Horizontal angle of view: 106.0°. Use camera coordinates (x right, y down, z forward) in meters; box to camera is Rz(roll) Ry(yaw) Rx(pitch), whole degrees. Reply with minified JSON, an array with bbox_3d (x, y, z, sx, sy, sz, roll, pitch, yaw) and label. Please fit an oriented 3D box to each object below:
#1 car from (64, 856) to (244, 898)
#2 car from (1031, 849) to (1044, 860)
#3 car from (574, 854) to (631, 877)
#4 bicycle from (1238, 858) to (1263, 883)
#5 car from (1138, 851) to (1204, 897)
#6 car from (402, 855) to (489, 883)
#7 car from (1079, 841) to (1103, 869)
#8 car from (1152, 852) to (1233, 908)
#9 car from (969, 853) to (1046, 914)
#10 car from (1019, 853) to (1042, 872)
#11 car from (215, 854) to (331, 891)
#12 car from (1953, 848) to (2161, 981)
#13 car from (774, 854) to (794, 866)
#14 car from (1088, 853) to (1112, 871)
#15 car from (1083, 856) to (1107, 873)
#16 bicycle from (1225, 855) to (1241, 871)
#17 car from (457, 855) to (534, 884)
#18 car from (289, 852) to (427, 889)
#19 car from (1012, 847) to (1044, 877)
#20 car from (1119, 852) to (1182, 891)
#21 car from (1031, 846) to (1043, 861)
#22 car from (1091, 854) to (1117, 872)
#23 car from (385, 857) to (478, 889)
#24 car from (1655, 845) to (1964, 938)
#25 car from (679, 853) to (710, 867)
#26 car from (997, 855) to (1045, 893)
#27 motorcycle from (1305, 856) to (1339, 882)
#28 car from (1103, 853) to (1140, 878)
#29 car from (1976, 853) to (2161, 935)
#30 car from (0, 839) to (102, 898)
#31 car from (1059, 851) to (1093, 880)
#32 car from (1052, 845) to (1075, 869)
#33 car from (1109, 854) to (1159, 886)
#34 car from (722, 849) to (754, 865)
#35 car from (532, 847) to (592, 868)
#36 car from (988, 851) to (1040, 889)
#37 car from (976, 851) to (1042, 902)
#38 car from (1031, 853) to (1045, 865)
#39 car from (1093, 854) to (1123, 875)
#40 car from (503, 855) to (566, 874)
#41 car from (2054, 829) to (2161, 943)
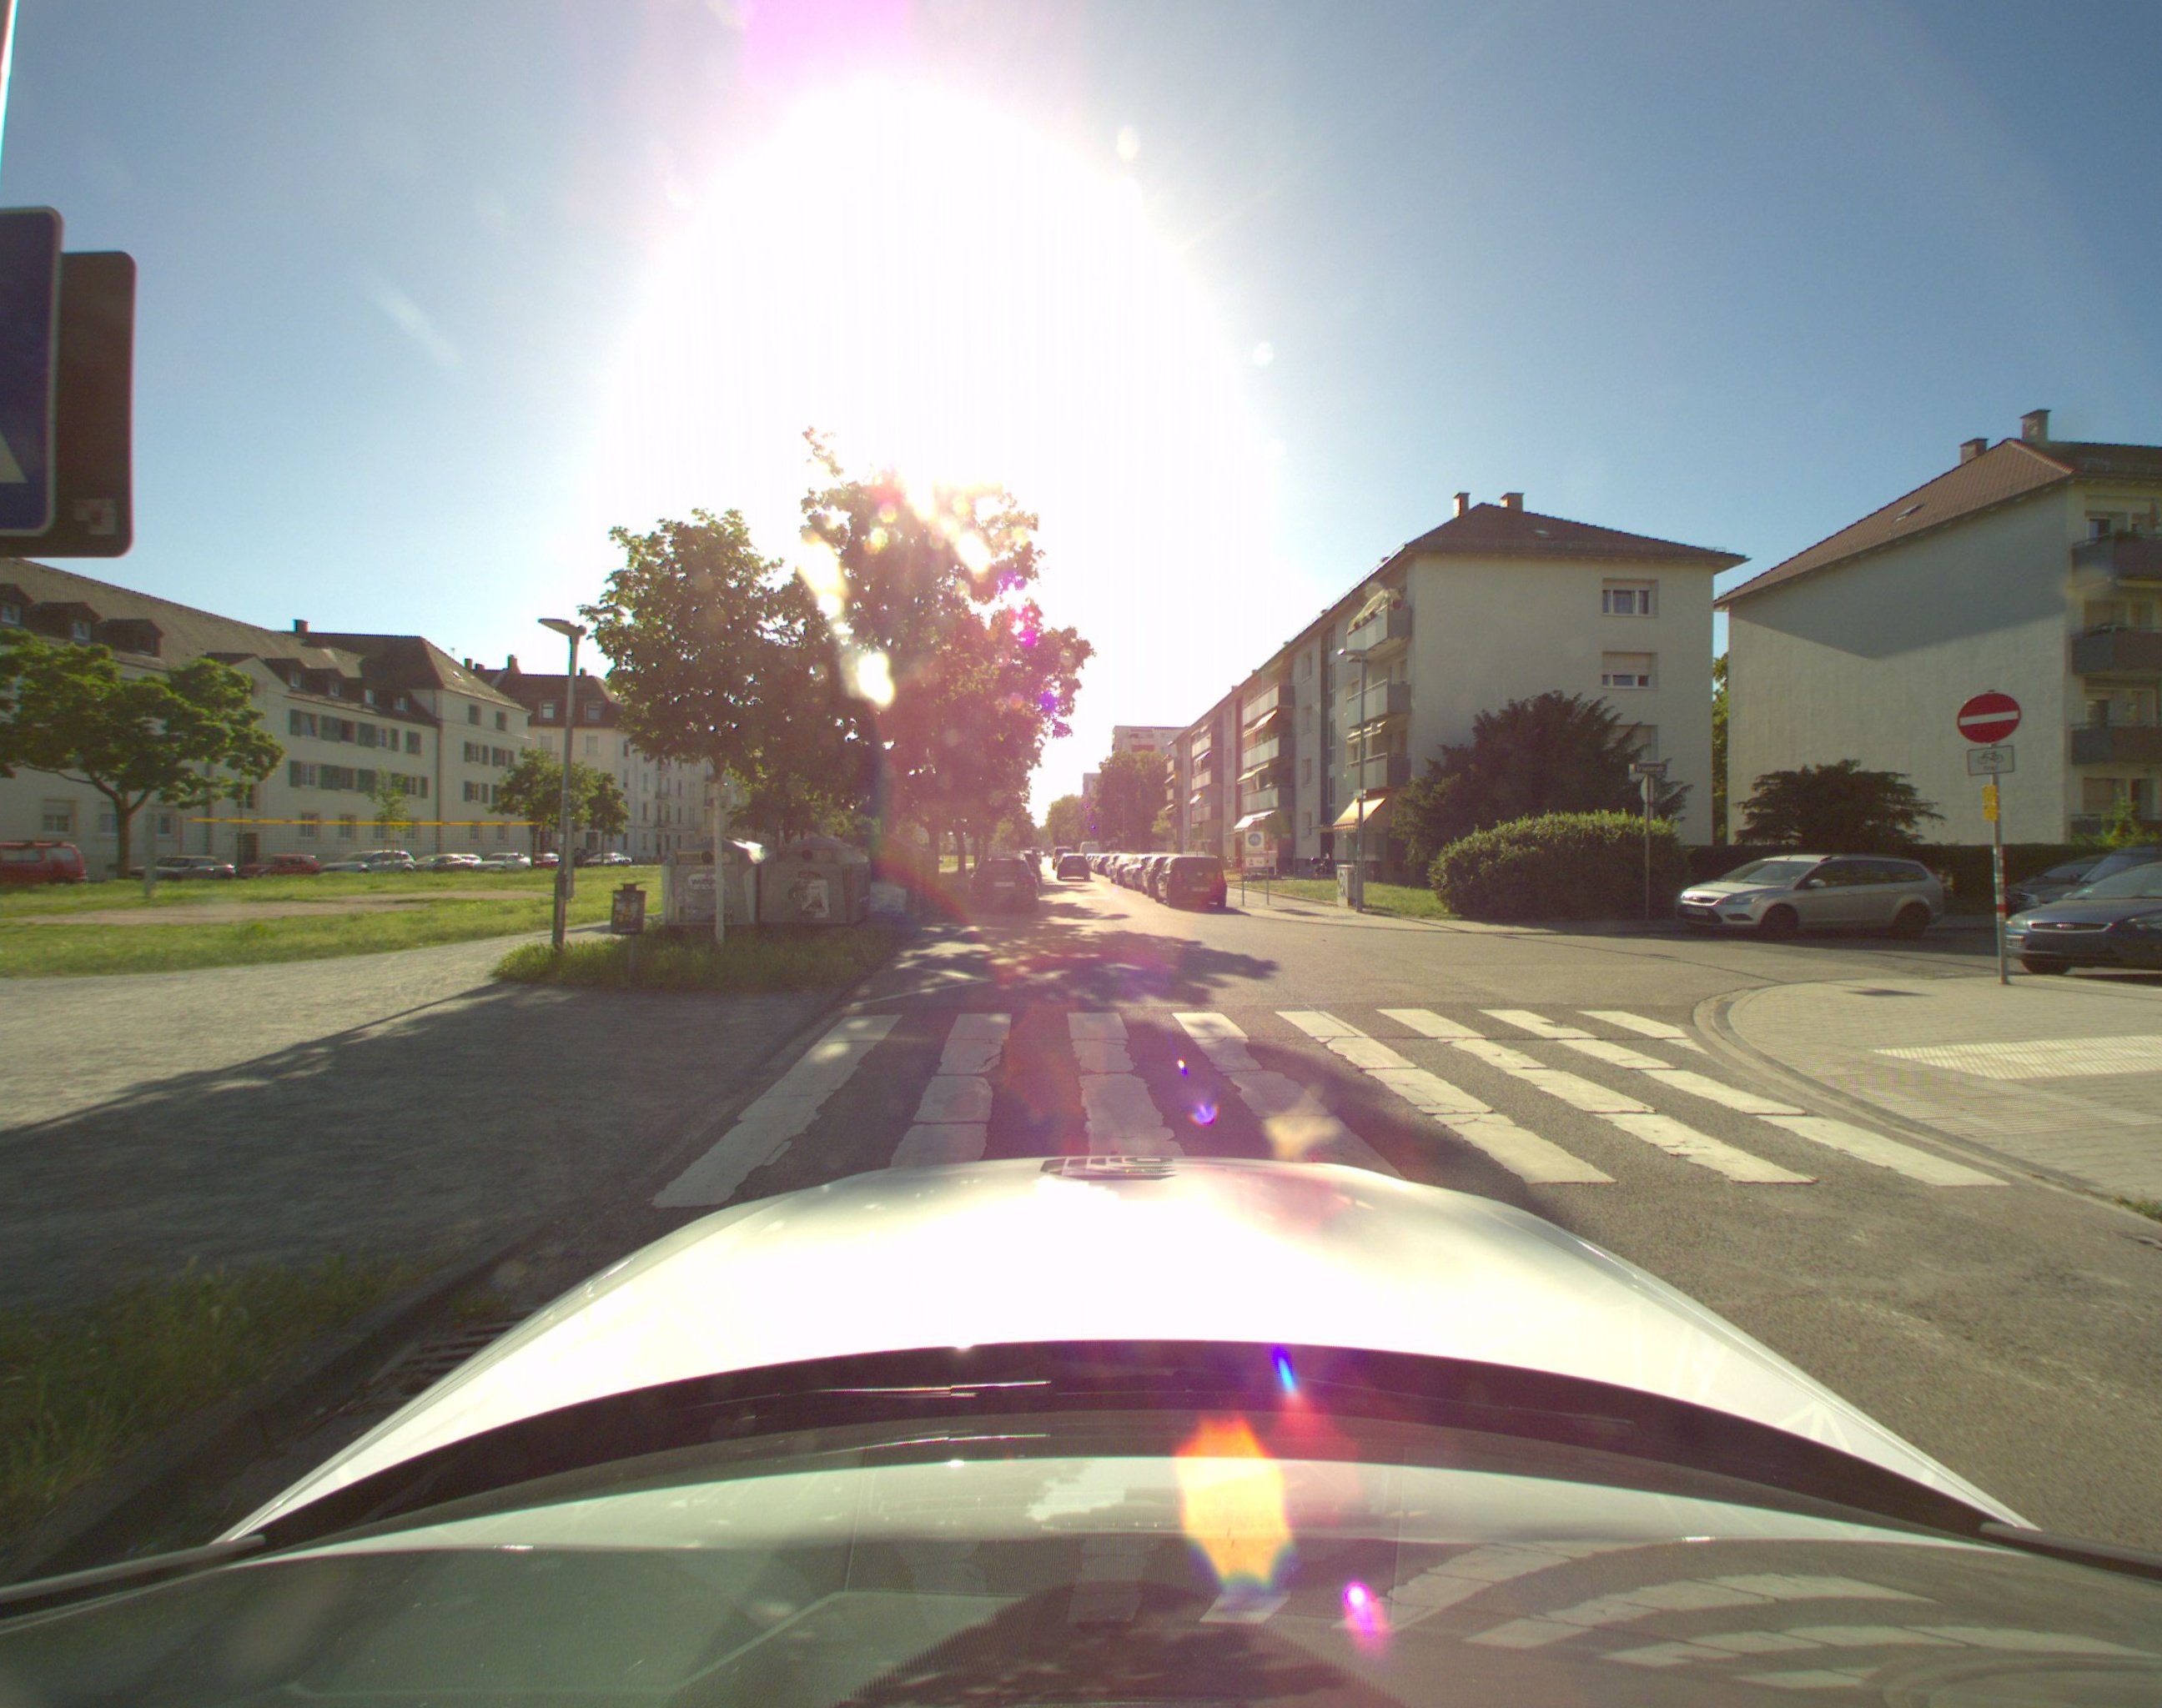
[{"bbox_3d":[-43.159,1.017,38.172,2.444,1.820,5.254,0,0,-2],"label":"car"},{"bbox_3d":[-7.443,0.094,139.507,2.093,1.942,4.122,0,0,-3],"label":"car"},{"bbox_3d":[-39.060,0.902,66.565,2.154,1.820,4.697,0,0,-5],"label":"car"},{"bbox_3d":[7.694,0.746,37.071,0.718,1.077,1.895,0,0,-1],"label":"bicycle"},{"bbox_3d":[3.147,0.672,29.344,1.765,1.529,4.554,0,0,-2],"label":"car"},{"bbox_3d":[-44.141,0.990,56.734,2.149,1.886,5.152,0,0,-3],"label":"car"},{"bbox_3d":[0.966,0.116,83.174,2.137,2.713,6.837,-1,0,-2],"label":"car"},{"bbox_3d":[3.167,0.703,23.866,1.655,1.474,3.789,2,0,-3],"label":"car"},{"bbox_3d":[-1.976,0.711,21.995,1.832,1.452,4.959,0,0,-5],"label":"car"},{"bbox_3d":[-4.292,0.709,69.238,1.870,1.519,4.464,-2,0,-4],"label":"car"},{"bbox_3d":[-43.432,0.964,43.943,2.259,1.905,4.160,0,0,-4],"label":"car"},{"bbox_3d":[14.002,0.682,10.165,4.540,1.474,1.903,0,-1,-6],"label":"car"},{"bbox_3d":[-41.454,0.829,113.744,1.691,1.526,4.073,0,0,-5],"label":"car"},{"bbox_3d":[1.621,0.674,70.547,1.873,1.475,4.136,0,0,-3],"label":"car"},{"bbox_3d":[1.238,0.950,75.212,1.845,1.466,4.195,1,0,-4],"label":"car"},{"bbox_3d":[10.259,0.605,55.074,0.522,1.071,2.007,-2,0,-4],"label":"bicycle"},{"bbox_3d":[-38.405,0.958,53.566,2.232,1.820,4.250,0,0,-5],"label":"car"},{"bbox_3d":[-37.829,0.810,42.851,2.444,1.820,5.450,0,0,-2],"label":"car"},{"bbox_3d":[-3.270,0.524,50.858,1.860,1.785,4.986,0,-1,-3],"label":"car"},{"bbox_3d":[2.896,0.704,34.892,1.871,1.534,4.483,0,0,-6],"label":"car"},{"bbox_3d":[-7.916,-0.099,145.895,2.093,2.496,4.124,0,0,-2],"label":"car"},{"bbox_3d":[1.803,0.687,65.177,1.717,1.435,4.148,0,0,-3],"label":"car"},{"bbox_3d":[-38.093,1.073,47.897,2.311,1.750,4.006,0,0,-2],"label":"car"},{"bbox_3d":[13.606,0.656,15.372,4.400,1.623,1.911,0,0,-6],"label":"car"},{"bbox_3d":[-46.133,0.692,97.188,1.992,1.586,4.442,0,0,-7],"label":"car"},{"bbox_3d":[-2.754,0.874,38.531,2.020,1.625,4.754,-1,0,-2],"label":"car"},{"bbox_3d":[11.063,0.668,37.422,0.583,1.151,2.029,0,0,-12],"label":"motorcycle"},{"bbox_3d":[2.510,0.695,51.198,1.746,1.499,3.853,0,0,-6],"label":"car"},{"bbox_3d":[20.459,0.740,16.040,3.964,1.511,1.820,0,0,-5],"label":"car"},{"bbox_3d":[-37.096,0.477,27.399,2.217,1.984,5.248,0,0,-5],"label":"car"},{"bbox_3d":[-0.307,0.611,45.148,1.775,1.531,3.997,1,0,-2],"label":"car"},{"bbox_3d":[-1.516,0.239,71.389,1.889,1.991,4.007,-1,0,-2],"label":"car"},{"bbox_3d":[2.544,0.725,40.261,1.839,1.473,5.059,0,0,-4],"label":"car"},{"bbox_3d":[-40.834,0.352,97.022,2.078,1.872,5.088,0,0,-5],"label":"car"},{"bbox_3d":[-52.148,0.331,81.963,4.557,2.013,2.135,0,0,-7],"label":"car"},{"bbox_3d":[-2.633,0.642,32.799,1.875,1.419,3.800,-1,-1,-2],"label":"car"},{"bbox_3d":[-2.463,0.684,27.739,1.991,1.516,5.148,-1,0,-5],"label":"car"},{"bbox_3d":[-6.006,0.689,113.378,1.772,1.495,3.872,-2,-1,-2],"label":"car"},{"bbox_3d":[1.972,0.729,59.752,1.696,1.435,4.464,-1,0,-4],"label":"car"},{"bbox_3d":[-44.541,0.798,66.506,1.989,1.485,4.952,-1,0,-4],"label":"car"},{"bbox_3d":[19.098,0.510,13.410,4.134,1.790,1.902,0,0,-4],"label":"car"}]
